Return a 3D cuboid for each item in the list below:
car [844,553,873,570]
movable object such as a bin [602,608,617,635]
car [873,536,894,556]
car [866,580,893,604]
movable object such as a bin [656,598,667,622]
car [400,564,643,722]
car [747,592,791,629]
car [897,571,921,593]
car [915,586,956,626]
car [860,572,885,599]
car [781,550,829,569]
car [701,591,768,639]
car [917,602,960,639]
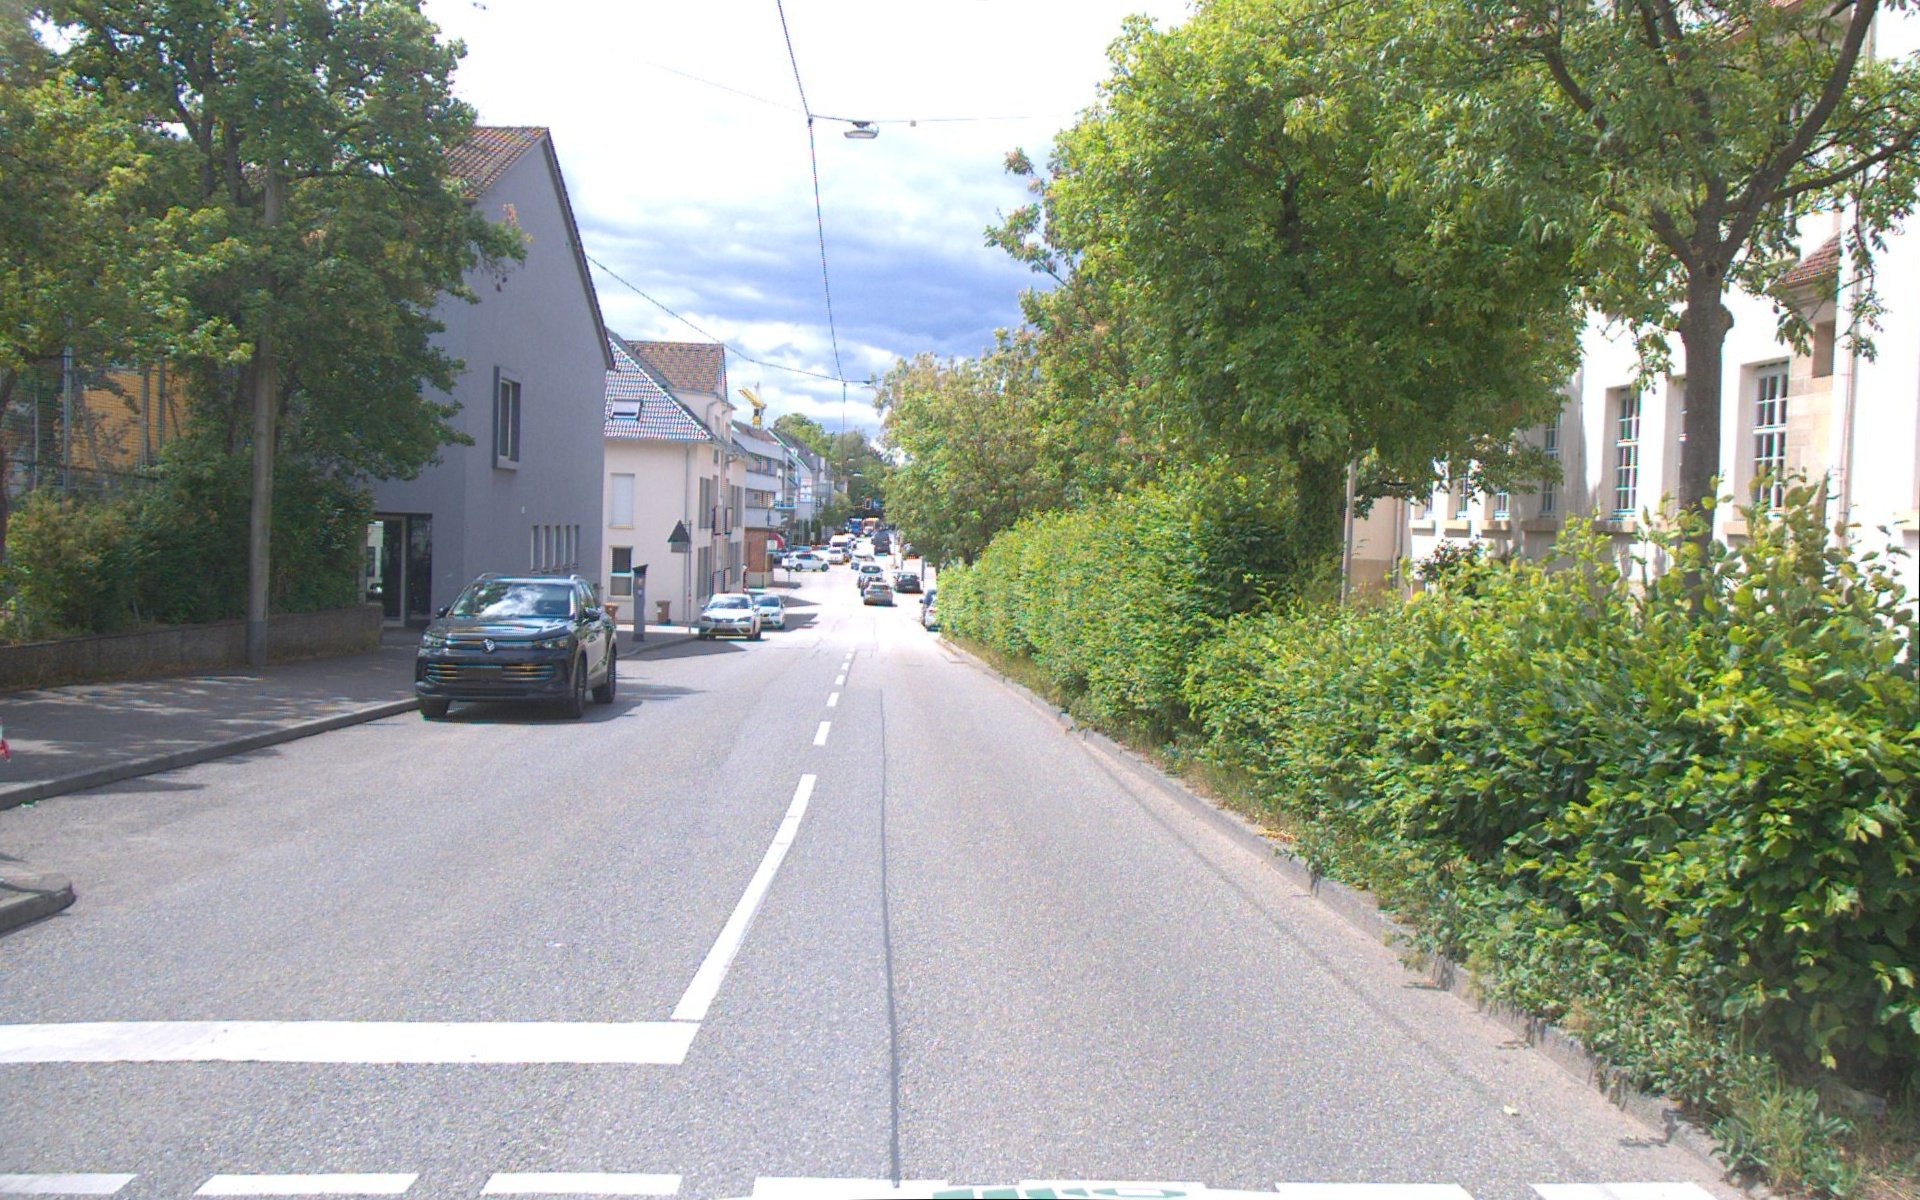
[{"bbox_3d":[-9.790,-3.709,159.850,1.745,1.518,4.003,3,1,12],"label":"car"},{"bbox_3d":[-12.340,0.747,58.280,0.445,0.945,0.399,1,0,-4],"label":"movable object such as a bin"},{"bbox_3d":[-9.609,-6.772,206.881,2.388,2.358,5.324,3,1,-3],"label":"car"},{"bbox_3d":[-5.225,-0.559,107.333,1.709,1.441,3.998,1,1,-3],"label":"car"},{"bbox_3d":[-12.135,0.388,67.194,0.405,0.970,0.391,1,0,-7],"label":"movable object such as a bin"},{"bbox_3d":[-5.167,0.416,20.123,1.759,1.638,4.645,2,1,-1],"label":"car"},{"bbox_3d":[-8.228,0.445,71.451,1.614,1.443,3.696,3,0,-3],"label":"car"},{"bbox_3d":[-3.792,-1.332,122.771,1.718,1.394,4.000,2,3,-2],"label":"car"},{"bbox_3d":[-1.263,0.274,82.142,1.807,1.798,4.512,2,1,-3],"label":"car"},{"bbox_3d":[-6.721,-1.117,126.436,1.800,1.894,3.848,2,1,-3],"label":"car"},{"bbox_3d":[-13.896,-3.633,148.259,3.964,1.584,1.760,0,1,-41],"label":"car"},{"bbox_3d":[-7.204,0.468,53.122,1.663,1.414,3.865,1,1,-1],"label":"car"},{"bbox_3d":[-1.032,0.929,76.831,1.751,1.535,4.362,2,1,-3],"label":"car"}]
